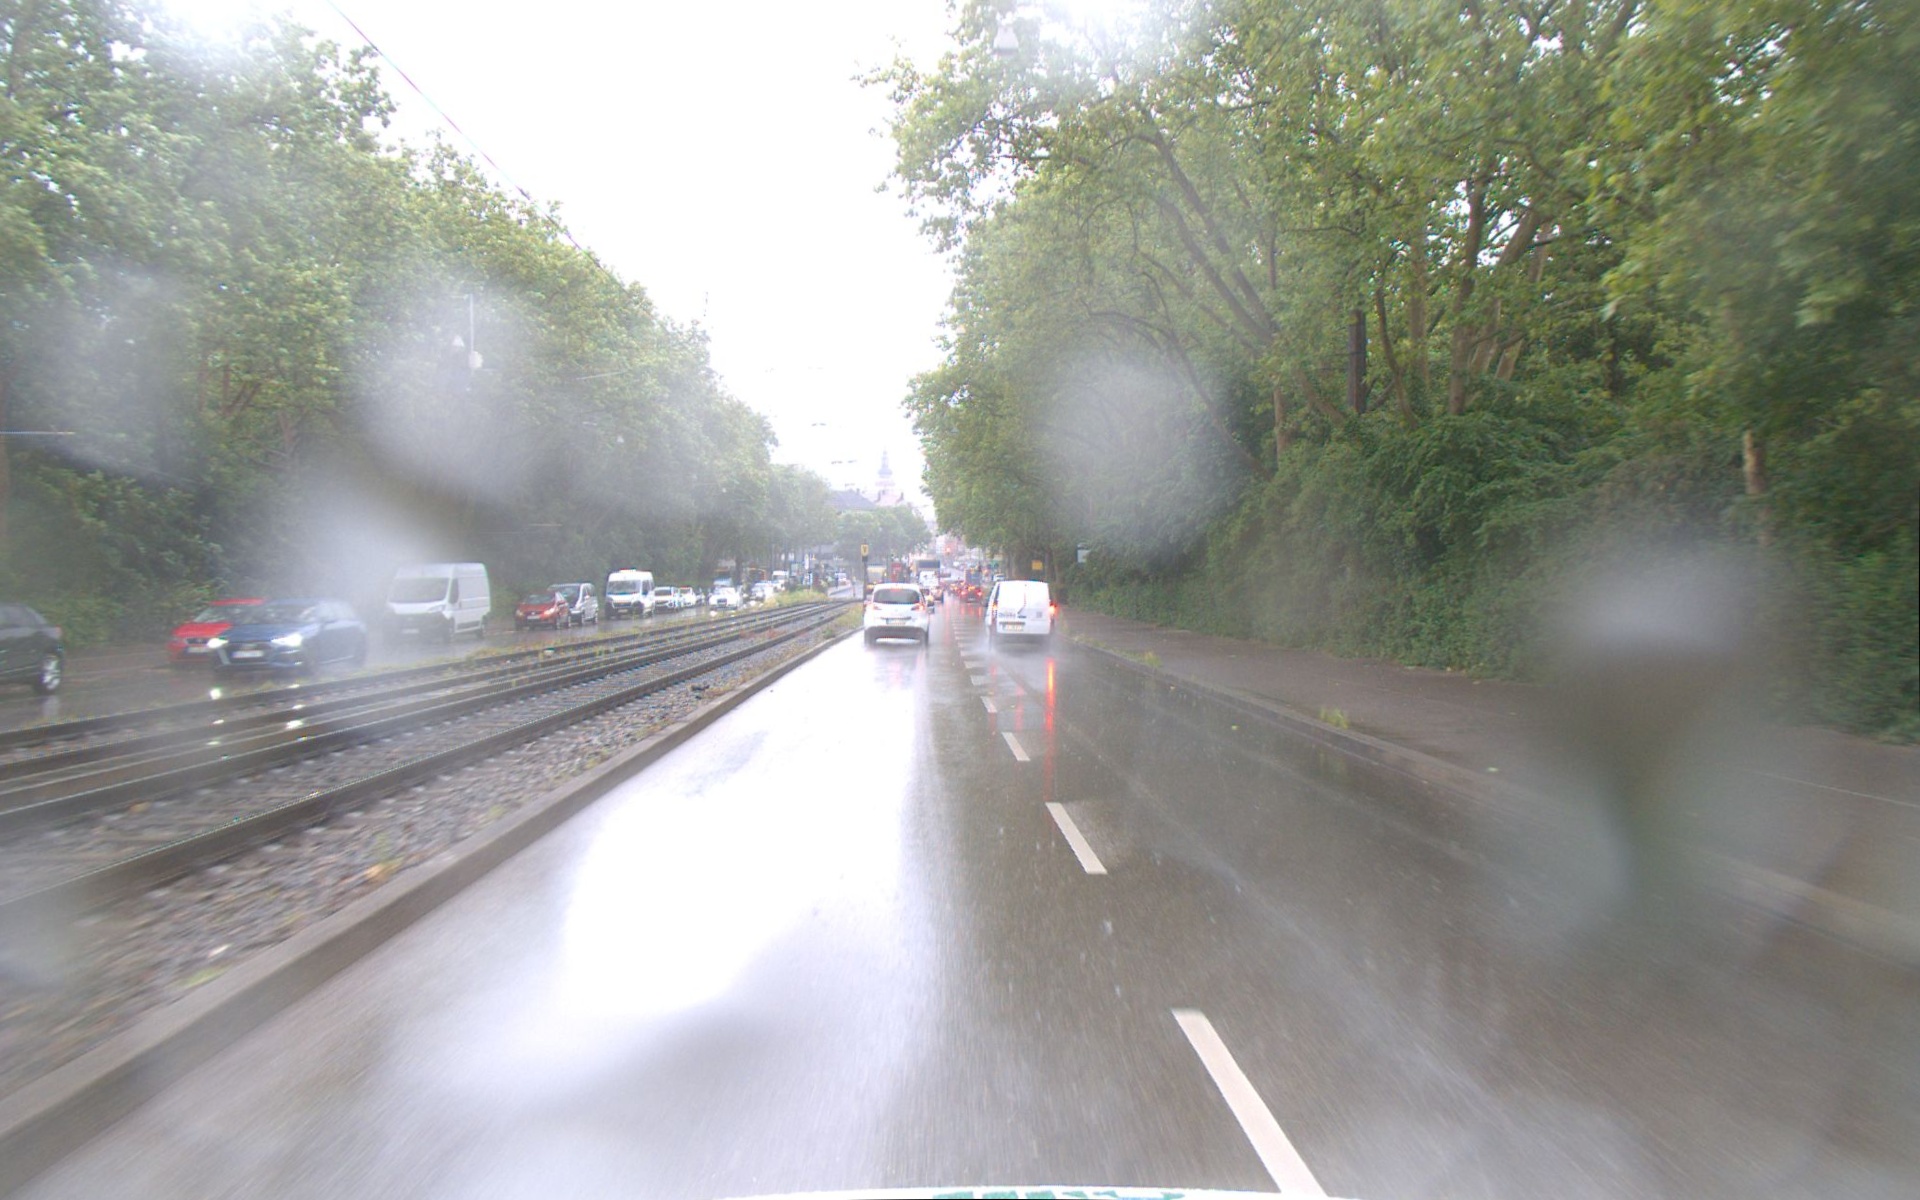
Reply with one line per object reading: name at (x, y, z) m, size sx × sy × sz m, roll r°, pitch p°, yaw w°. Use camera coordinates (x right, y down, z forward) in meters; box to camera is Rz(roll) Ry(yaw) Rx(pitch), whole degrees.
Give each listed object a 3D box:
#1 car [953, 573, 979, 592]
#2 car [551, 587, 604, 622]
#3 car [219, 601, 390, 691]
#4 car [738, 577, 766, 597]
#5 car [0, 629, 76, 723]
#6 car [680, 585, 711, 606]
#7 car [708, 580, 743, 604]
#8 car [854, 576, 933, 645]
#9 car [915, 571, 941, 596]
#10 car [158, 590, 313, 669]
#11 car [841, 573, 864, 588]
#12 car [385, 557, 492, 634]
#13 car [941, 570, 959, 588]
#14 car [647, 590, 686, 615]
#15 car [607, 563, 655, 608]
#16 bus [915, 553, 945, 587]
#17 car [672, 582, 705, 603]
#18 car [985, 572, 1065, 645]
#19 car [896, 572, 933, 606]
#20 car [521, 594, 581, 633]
car at (0.465, -1.323, 125.978) m, size 1.952 × 1.344 × 4.001 m, roll 1°, pitch 2°, yaw 0°
car at (-16.958, 0.186, 73.548) m, size 1.475 × 1.373 × 4.026 m, roll -2°, pitch 2°, yaw -2°
car at (-12.628, 0.823, 32.173) m, size 1.475 × 1.425 × 4.707 m, roll -2°, pitch 2°, yaw -1°
car at (-16.704, -1.057, 133.148) m, size 1.768 × 1.373 × 4.263 m, roll -2°, pitch 2°, yaw -2°
car at (-15.330, 1.231, 25.257) m, size 1.475 × 1.314 × 4.095 m, roll -2°, pitch 2°, yaw -1°
car at (-20.403, -0.365, 127.665) m, size 1.768 × 1.373 × 4.263 m, roll -2°, pitch 2°, yaw -2°
car at (-15.374, -0.526, 108.534) m, size 1.768 × 1.373 × 4.263 m, roll -2°, pitch 2°, yaw -2°
car at (-1.798, 0.250, 46.037) m, size 1.952 × 1.746 × 4.001 m, roll 1°, pitch 2°, yaw 0°
car at (-2.580, -1.344, 134.481) m, size 1.952 × 1.858 × 4.001 m, roll 1°, pitch 2°, yaw 0°
car at (-15.919, 0.601, 36.577) m, size 1.577 × 1.467 × 4.261 m, roll -2°, pitch 2°, yaw -2°
car at (-10.969, -1.999, 169.484) m, size 1.767 × 1.373 × 4.266 m, roll -2°, pitch 2°, yaw 4°
car at (-16.250, -0.211, 51.830) m, size 1.706 × 2.207 × 5.812 m, roll -2°, pitch 2°, yaw -3°
car at (-1.128, -2.334, 184.451) m, size 1.952 × 1.858 × 4.001 m, roll 1°, pitch 2°, yaw 0°
car at (-18.550, 0.136, 104.535) m, size 1.768 × 1.373 × 4.263 m, roll -2°, pitch 2°, yaw -2°
car at (-17.561, -0.810, 88.447) m, size 1.764 × 2.260 × 4.276 m, roll -2°, pitch 2°, yaw -2°
bus at (-3.540, -3.675, 199.063) m, size 3.320 × 3.903 × 9.740 m, roll 1°, pitch 2°, yaw 0°
car at (-20.116, -0.548, 122.589) m, size 1.768 × 1.373 × 4.263 m, roll -2°, pitch 2°, yaw -2°
car at (1.665, 0.190, 43.825) m, size 1.952 × 1.756 × 4.001 m, roll 1°, pitch 2°, yaw 0°
car at (-2.594, -0.665, 95.396) m, size 1.952 × 1.858 × 4.001 m, roll 1°, pitch 2°, yaw 0°
car at (-16.726, 0.528, 67.804) m, size 1.475 × 1.373 × 4.026 m, roll -2°, pitch 2°, yaw -2°
